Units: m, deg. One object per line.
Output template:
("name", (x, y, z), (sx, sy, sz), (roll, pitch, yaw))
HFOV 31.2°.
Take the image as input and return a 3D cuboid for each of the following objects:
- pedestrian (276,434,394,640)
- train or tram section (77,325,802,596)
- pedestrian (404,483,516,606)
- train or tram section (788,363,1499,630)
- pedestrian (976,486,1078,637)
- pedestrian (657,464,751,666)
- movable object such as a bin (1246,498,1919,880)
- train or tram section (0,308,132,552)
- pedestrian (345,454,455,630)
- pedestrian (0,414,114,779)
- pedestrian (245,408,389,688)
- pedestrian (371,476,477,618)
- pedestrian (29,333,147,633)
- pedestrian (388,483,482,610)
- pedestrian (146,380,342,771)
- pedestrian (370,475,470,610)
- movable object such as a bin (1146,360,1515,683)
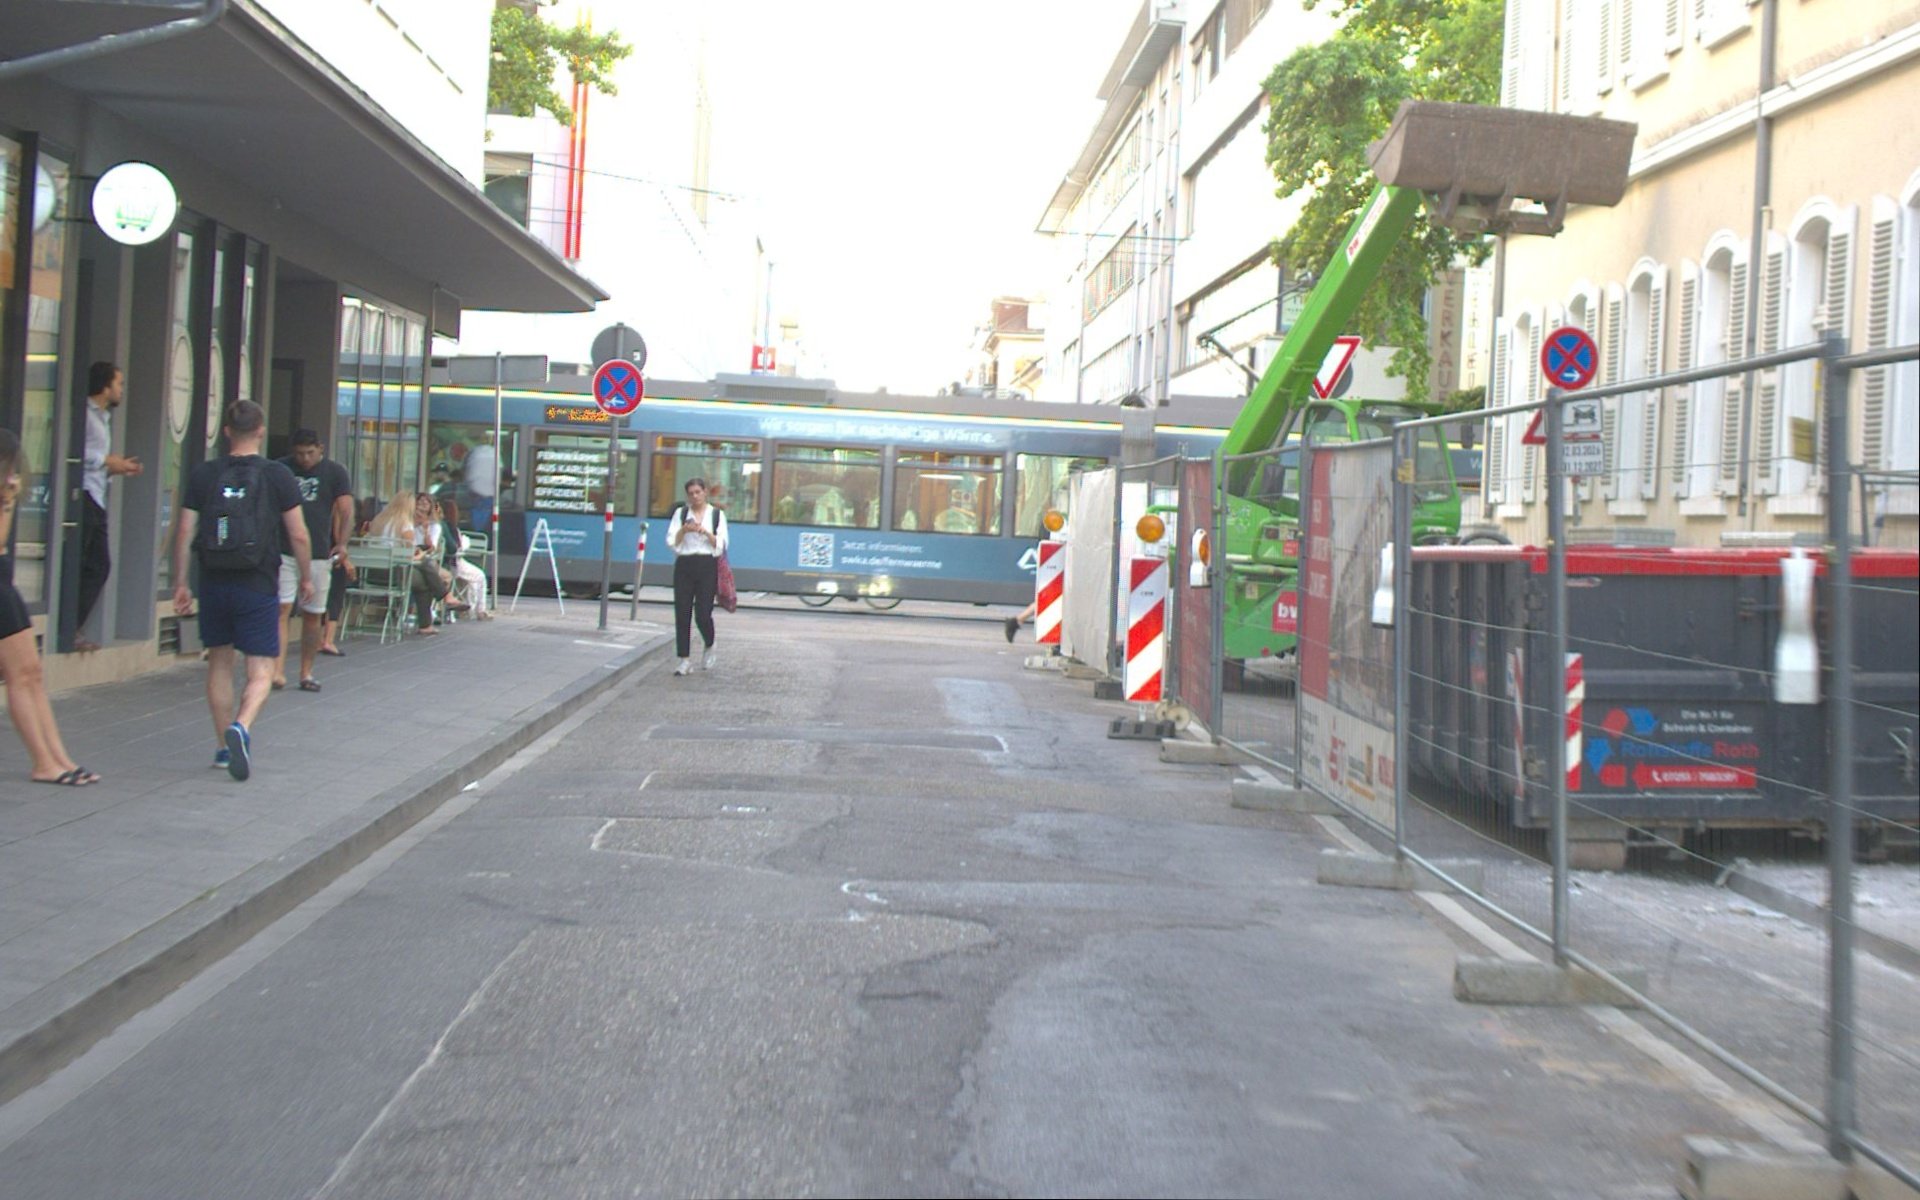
("pedestrian", (-4.951, -0.506, 27.205), (0.656, 1.564, 0.638), (3, 2, -27))
("train or tram section", (-7.669, -2.059, 51.796), (10.367, 3.511, 3.018), (2, 1, -1))
("pedestrian", (-5.184, -0.570, 35.652), (0.705, 1.215, 0.840), (4, 2, 36))
("train or tram section", (2.665, -1.553, 52.078), (10.335, 3.511, 3.027), (2, 1, -2))
("pedestrian", (0.792, -0.463, 40.747), (1.141, 1.733, 0.759), (2, 1, 0))
("pedestrian", (-2.228, -0.316, 29.999), (0.756, 1.733, 0.785), (1, 2, 0))
("movable object such as a bin", (3.599, 0.325, 19.800), (2.890, 1.659, 7.295), (2, 2, -3))
("train or tram section", (-18.245, -2.706, 51.556), (10.808, 3.511, 3.013), (2, 1, -1))
("pedestrian", (-5.105, -0.535, 31.384), (0.704, 1.542, 0.861), (4, 1, 6))
("pedestrian", (-4.234, -0.035, 15.307), (0.708, 1.572, 0.613), (4, 1, -4))
("pedestrian", (-4.243, -0.352, 22.732), (0.704, 1.775, 0.933), (3, 1, -2))
("pedestrian", (-5.062, -0.503, 32.437), (0.704, 1.281, 0.861), (3, 2, -25))
("pedestrian", (-5.364, -0.718, 21.160), (0.544, 1.804, 0.613), (2, 1, -2))
("pedestrian", (-5.246, -0.539, 34.354), (0.704, 1.191, 0.691), (6, 2, 2))
("pedestrian", (-3.422, -0.128, 16.493), (0.714, 1.804, 0.933), (2, 1, -1))
("pedestrian", (-5.252, -0.561, 33.487), (0.704, 1.235, 0.778), (6, 1, 2))
("movable object such as a bin", (3.533, -0.807, 34.121), (2.635, 2.862, 5.566), (2, 2, -4))
